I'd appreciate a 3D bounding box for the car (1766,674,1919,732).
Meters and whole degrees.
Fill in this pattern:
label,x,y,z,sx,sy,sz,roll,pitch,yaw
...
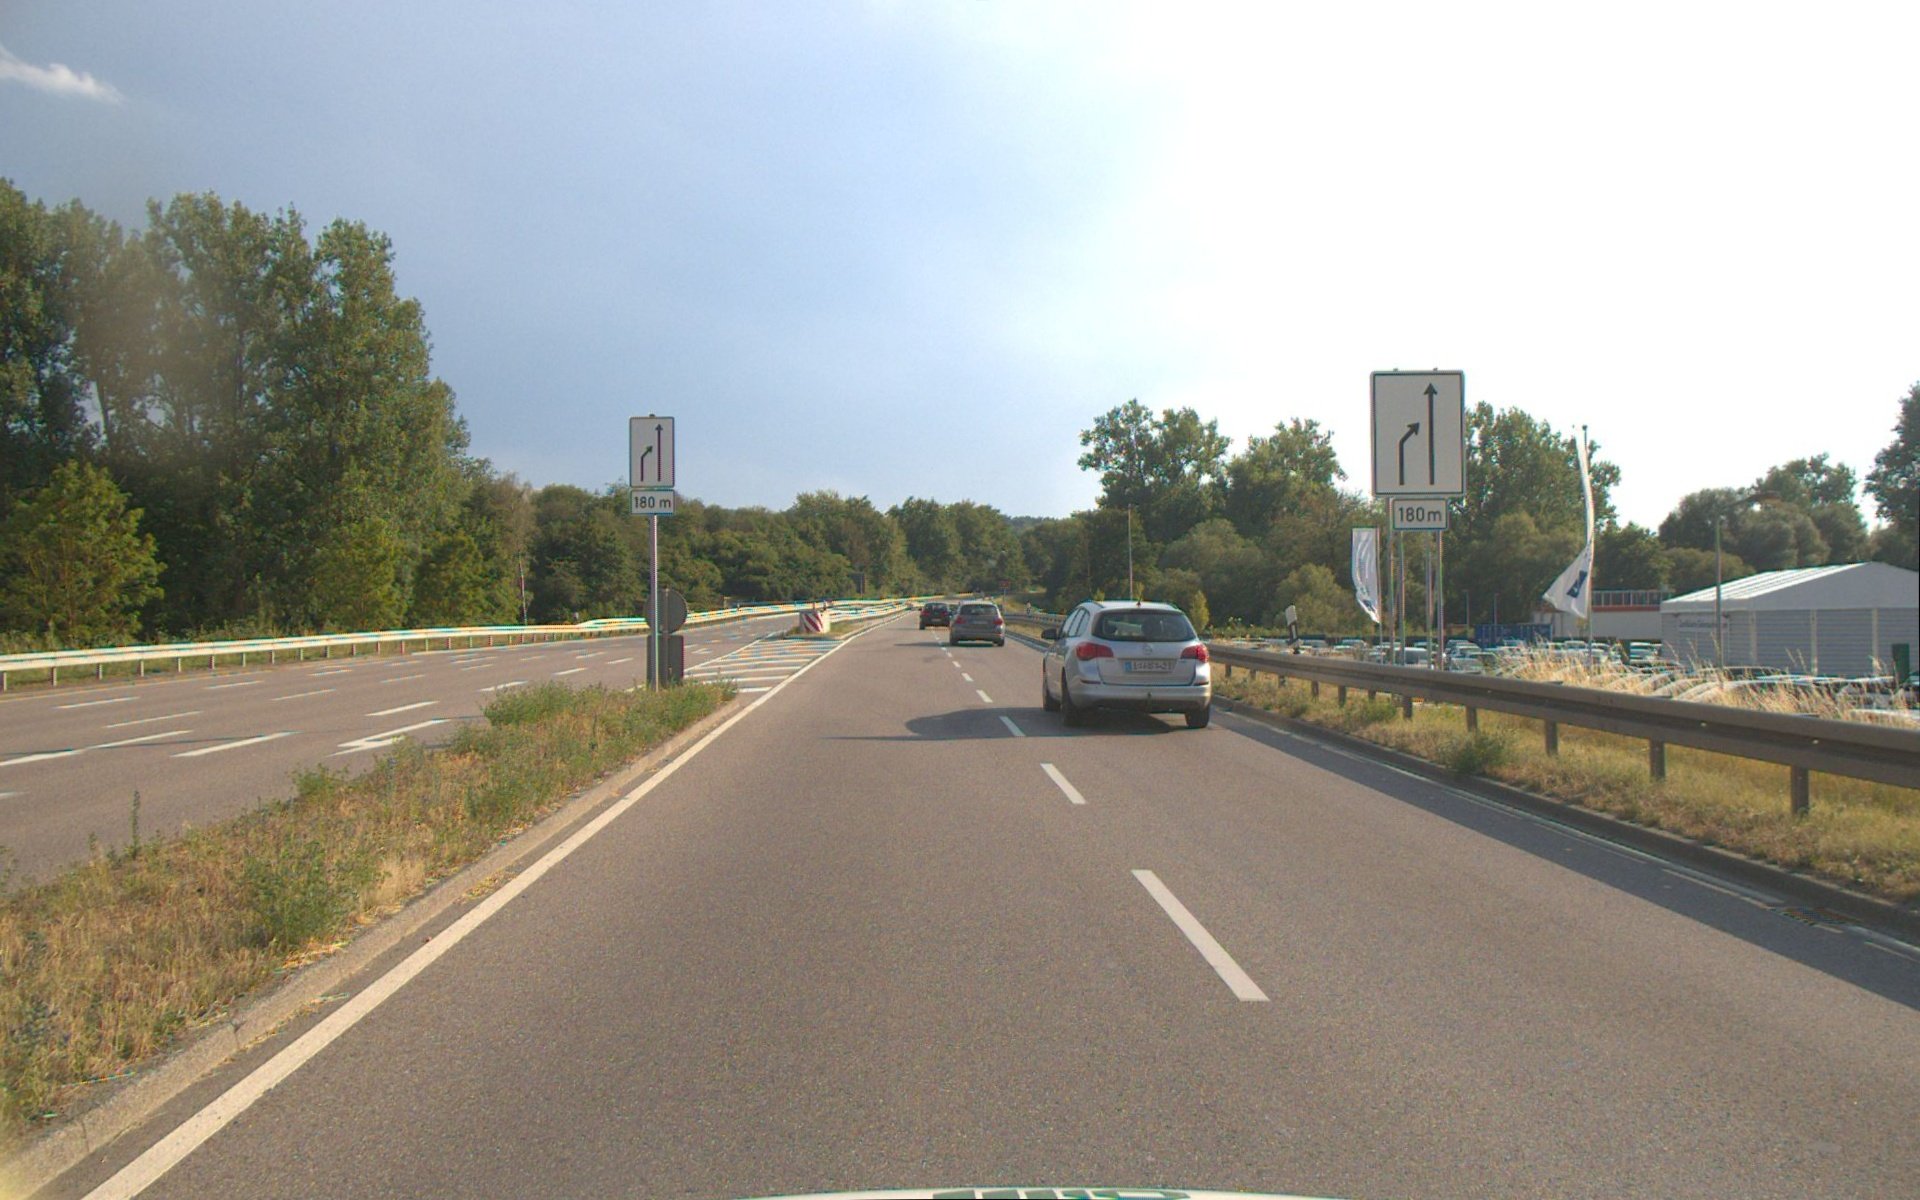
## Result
label,x,y,z,sx,sy,sz,roll,pitch,yaw
car,26.566,3.050,49.158,4.324,1.570,1.802,1,-1,6

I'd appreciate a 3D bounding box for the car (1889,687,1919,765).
label,x,y,z,sx,sy,sz,roll,pitch,yaw
car,24.321,2.935,38.501,4.324,1.744,1.802,0,-1,6

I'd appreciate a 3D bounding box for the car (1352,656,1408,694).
label,x,y,z,sx,sy,sz,roll,pitch,yaw
car,20.503,3.644,80.907,1.840,1.665,4.732,1,-1,4

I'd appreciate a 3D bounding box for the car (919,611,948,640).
label,x,y,z,sx,sy,sz,roll,pitch,yaw
car,-1.359,1.330,86.104,1.462,1.502,3.358,1,-1,0

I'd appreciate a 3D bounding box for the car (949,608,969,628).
label,x,y,z,sx,sy,sz,roll,pitch,yaw
car,-0.088,1.345,122.424,1.462,1.502,3.358,1,-1,0

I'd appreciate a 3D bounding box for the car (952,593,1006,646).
label,x,y,z,sx,sy,sz,roll,pitch,yaw
car,0.591,0.652,53.891,1.633,1.601,3.999,1,-1,0

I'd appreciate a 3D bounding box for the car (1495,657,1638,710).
label,x,y,z,sx,sy,sz,roll,pitch,yaw
car,20.846,2.859,56.969,4.324,1.696,1.843,1,-1,6

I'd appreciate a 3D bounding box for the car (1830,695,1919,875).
label,x,y,z,sx,sy,sz,roll,pitch,yaw
car,14.250,2.305,20.605,5.759,2.049,2.000,1,-1,1

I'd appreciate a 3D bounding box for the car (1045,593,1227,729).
label,x,y,z,sx,sy,sz,roll,pitch,yaw
car,2.094,0.723,20.740,1.772,1.512,3.999,1,-1,-1

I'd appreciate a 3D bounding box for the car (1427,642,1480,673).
label,x,y,z,sx,sy,sz,roll,pitch,yaw
car,27.919,3.251,93.696,1.840,1.665,4.731,1,-1,3

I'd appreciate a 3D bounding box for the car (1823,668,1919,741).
label,x,y,z,sx,sy,sz,roll,pitch,yaw
car,24.423,2.642,41.766,4.324,1.744,1.802,1,-1,6

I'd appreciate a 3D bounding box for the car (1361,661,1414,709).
label,x,y,z,sx,sy,sz,roll,pitch,yaw
car,19.267,3.817,74.670,1.839,1.965,4.733,1,-1,9

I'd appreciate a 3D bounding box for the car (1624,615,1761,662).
label,x,y,z,sx,sy,sz,roll,pitch,yaw
car,27.291,1.429,61.730,4.331,1.665,1.887,1,-1,6

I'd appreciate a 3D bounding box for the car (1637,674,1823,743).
label,x,y,z,sx,sy,sz,roll,pitch,yaw
car,19.452,2.731,41.886,3.890,1.570,1.788,1,-1,2
